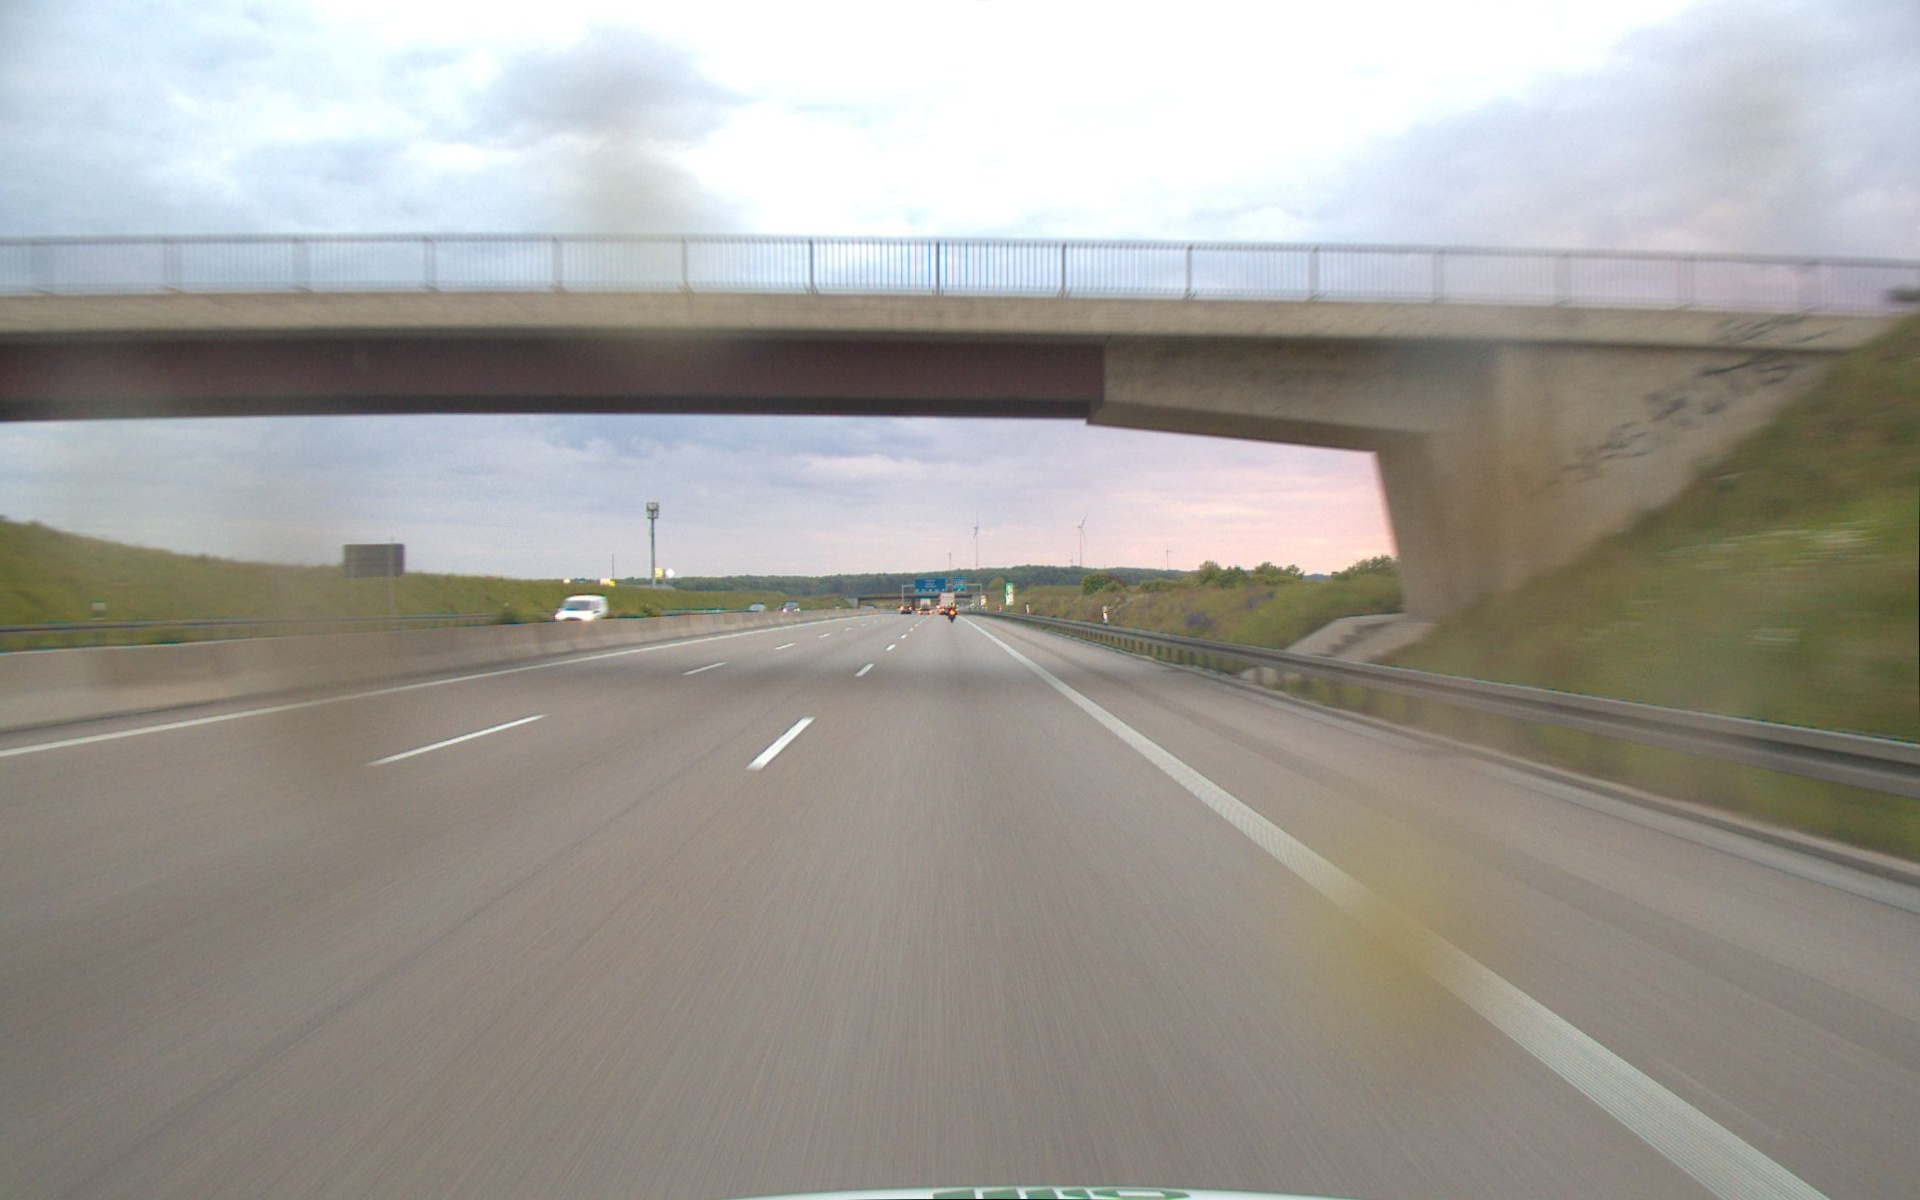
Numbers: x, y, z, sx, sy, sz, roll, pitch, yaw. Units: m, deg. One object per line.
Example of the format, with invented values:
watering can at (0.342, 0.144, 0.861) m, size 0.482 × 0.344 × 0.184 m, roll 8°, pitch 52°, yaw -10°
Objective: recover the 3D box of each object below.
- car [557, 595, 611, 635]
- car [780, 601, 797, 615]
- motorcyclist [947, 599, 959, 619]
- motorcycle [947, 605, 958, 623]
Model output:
car at (-19.489, 0.751, 85.904) m, size 1.786 × 1.969 × 4.892 m, roll 1°, pitch 0°, yaw -2°
car at (-24.788, 1.119, 239.134) m, size 1.953 × 1.970 × 5.088 m, roll 1°, pitch 0°, yaw -1°
motorcyclist at (-0.548, 0.706, 129.402) m, size 0.848 × 1.514 × 1.168 m, roll 1°, pitch 0°, yaw 1°
motorcycle at (-0.585, 1.074, 129.321) m, size 0.883 × 1.370 × 2.348 m, roll 0°, pitch 0°, yaw 0°
